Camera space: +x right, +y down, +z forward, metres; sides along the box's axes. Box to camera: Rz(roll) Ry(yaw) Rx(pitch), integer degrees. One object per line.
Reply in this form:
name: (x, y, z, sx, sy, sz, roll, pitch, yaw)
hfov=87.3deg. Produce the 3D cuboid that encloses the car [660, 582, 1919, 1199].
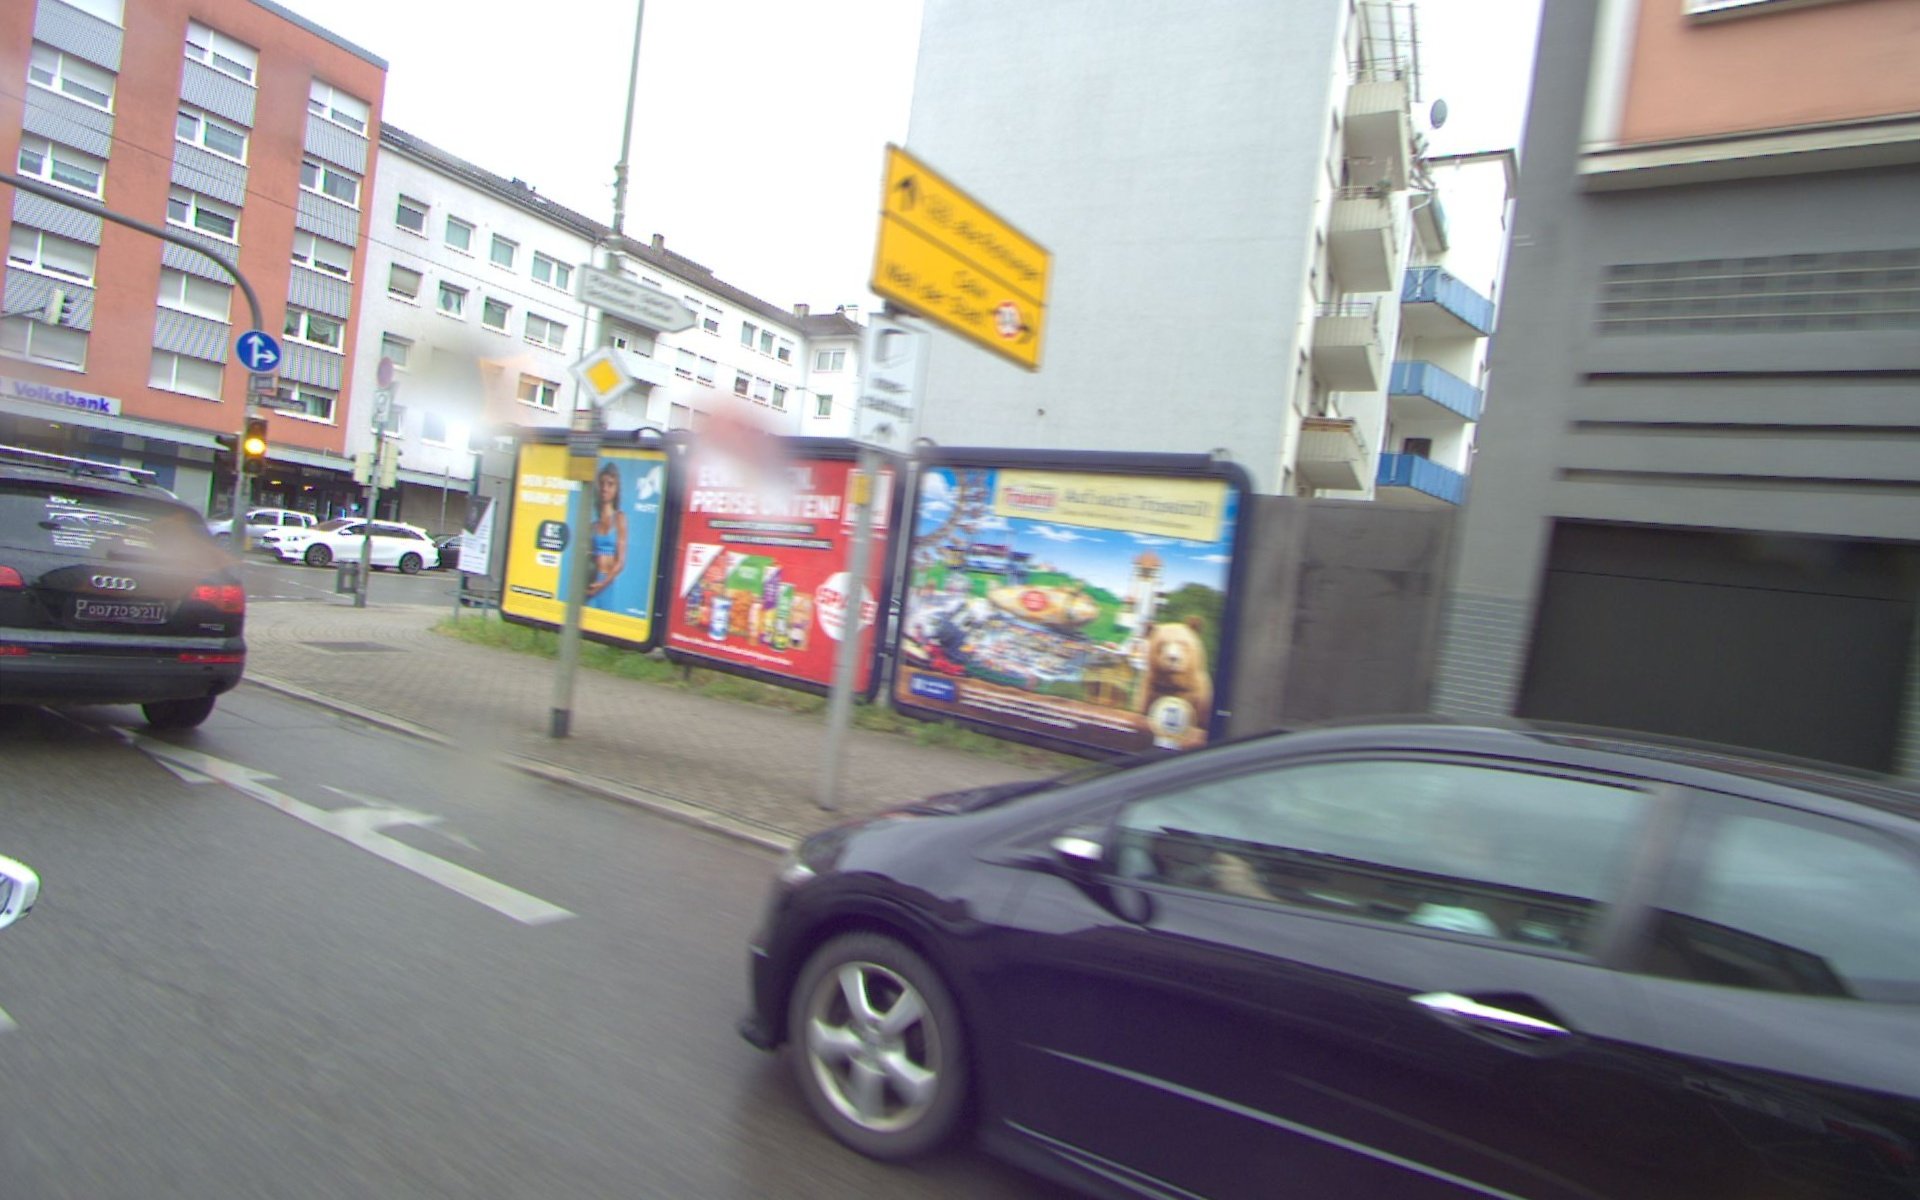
car: (1.301, 0.978, 2.820, 3.989, 1.514, 1.787, 7, -2, 32)

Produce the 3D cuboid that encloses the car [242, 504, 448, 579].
car: (-17.604, -1.633, 29.055, 1.887, 1.504, 4.657, 7, 0, 29)

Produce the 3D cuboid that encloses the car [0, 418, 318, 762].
car: (-7.090, -0.226, 7.238, 4.816, 1.891, 2.026, 7, -2, 30)

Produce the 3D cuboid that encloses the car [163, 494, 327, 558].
car: (-23.214, -2.372, 32.811, 1.674, 1.504, 3.951, 8, 1, 30)

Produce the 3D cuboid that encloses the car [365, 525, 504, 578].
car: (-19.750, -1.786, 37.996, 1.640, 1.443, 4.374, 7, 0, 30)

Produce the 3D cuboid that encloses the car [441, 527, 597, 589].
car: (-14.829, -1.370, 34.075, 1.814, 1.504, 4.515, 7, 0, 30)
